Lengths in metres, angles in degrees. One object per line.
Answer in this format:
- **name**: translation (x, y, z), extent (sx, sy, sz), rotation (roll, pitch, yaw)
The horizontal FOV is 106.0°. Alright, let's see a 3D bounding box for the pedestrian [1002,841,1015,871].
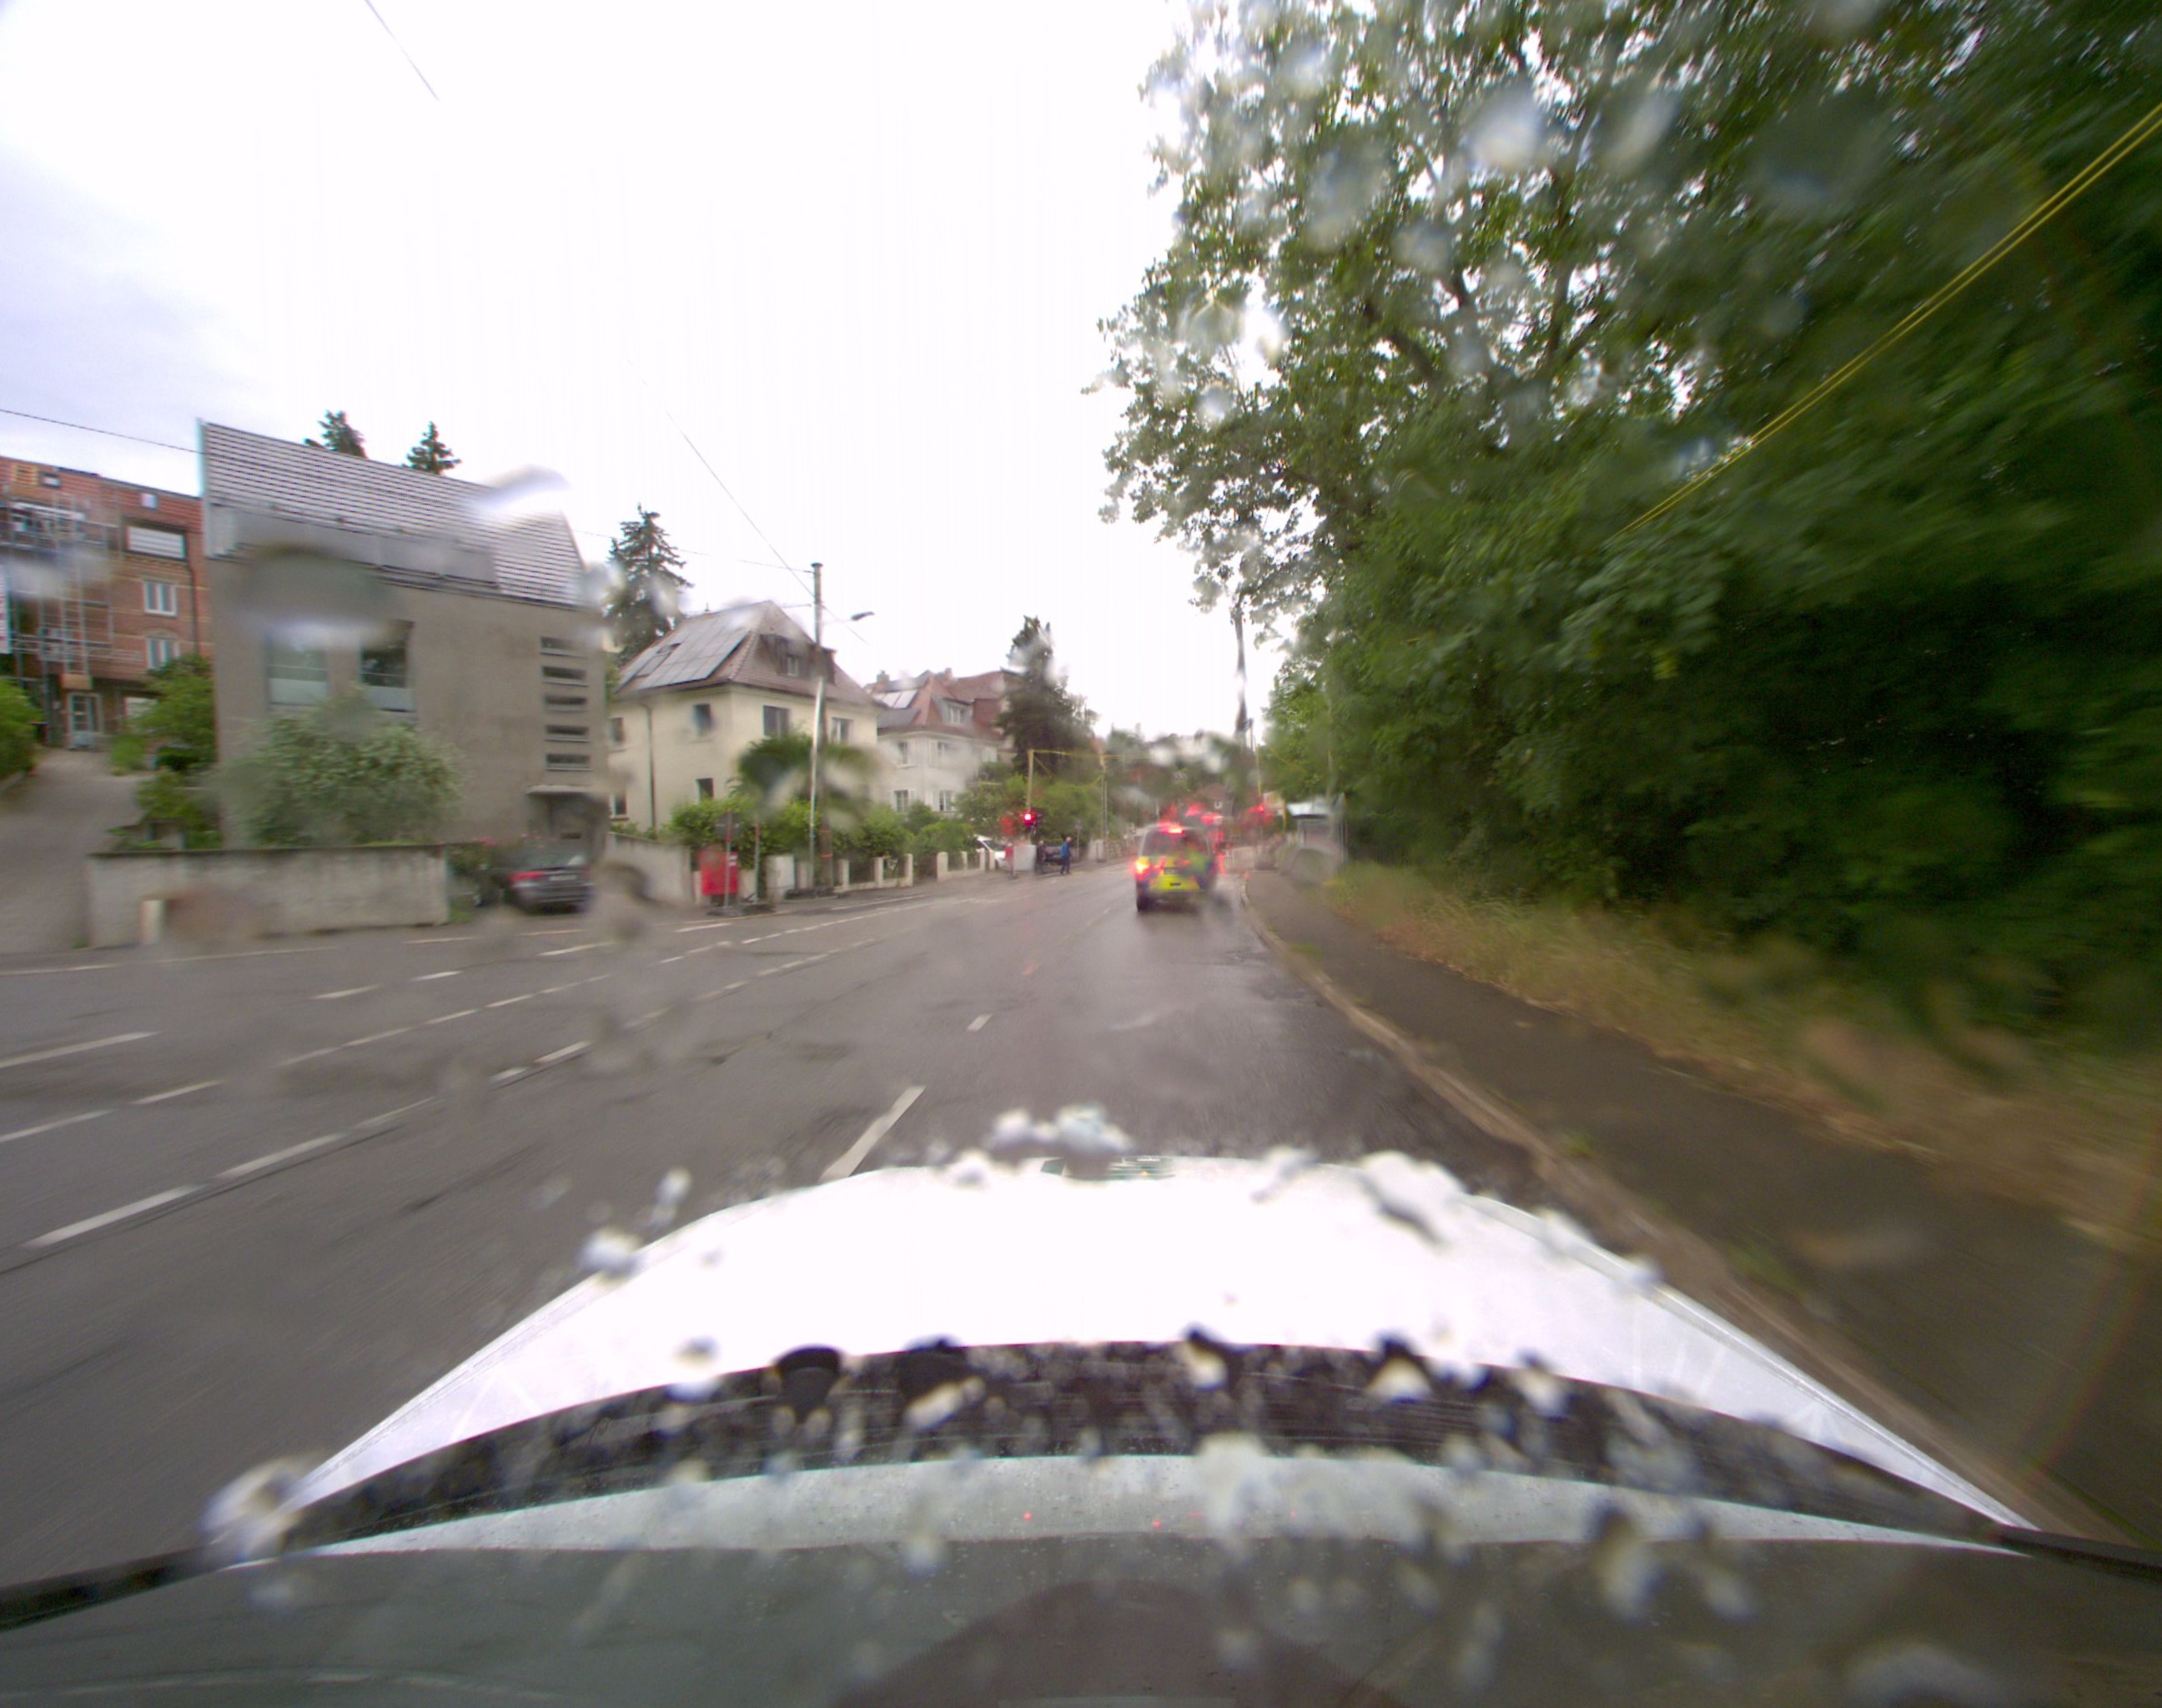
- **pedestrian**: translation (-3.688, 0.094, 41.320), extent (0.522, 1.507, 0.430), rotation (1, -1, 9)

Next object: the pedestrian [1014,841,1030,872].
- **pedestrian**: translation (-2.924, 0.130, 40.345), extent (0.622, 1.522, 0.594), rotation (1, -1, 10)

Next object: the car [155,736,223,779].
- **car**: translation (-39.574, -4.236, 36.215), extent (1.792, 1.464, 3.572), rotation (-2, 1, -44)

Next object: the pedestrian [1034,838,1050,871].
- **pedestrian**: translation (-1.915, 0.025, 40.080), extent (0.682, 1.604, 0.607), rotation (1, -1, 6)

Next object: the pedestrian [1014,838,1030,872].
- **pedestrian**: translation (-3.016, 0.043, 41.703), extent (0.622, 1.715, 0.594), rotation (1, -1, 10)

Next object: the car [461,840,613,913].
- **car**: translation (-12.326, 0.411, 18.379), extent (3.949, 1.443, 1.851), rotation (1, 2, 41)

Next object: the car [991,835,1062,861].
- **car**: translation (-3.365, -0.357, 50.579), extent (3.955, 1.486, 1.768), rotation (1, -1, 18)

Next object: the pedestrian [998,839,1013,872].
- **pedestrian**: translation (-3.684, 0.086, 39.715), extent (0.559, 1.582, 0.469), rotation (1, -1, 9)

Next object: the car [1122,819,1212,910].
- **car**: translation (2.231, 0.193, 20.545), extent (1.982, 2.013, 4.412), rotation (-1, 1, 8)

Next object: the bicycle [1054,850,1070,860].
- **bicycle**: translation (-1.291, 0.071, 55.445), extent (1.045, 0.662, 0.322), rotation (1, -1, 18)

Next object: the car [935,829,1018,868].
- **car**: translation (-5.571, -0.308, 43.340), extent (3.954, 2.013, 1.839), rotation (0, 1, 19)

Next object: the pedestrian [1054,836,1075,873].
- **pedestrian**: translation (-0.787, 0.049, 40.101), extent (0.885, 1.787, 0.830), rotation (1, -1, 6)

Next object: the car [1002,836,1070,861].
- **car**: translation (-2.890, -0.360, 52.689), extent (3.955, 1.486, 1.768), rotation (1, -1, 18)
